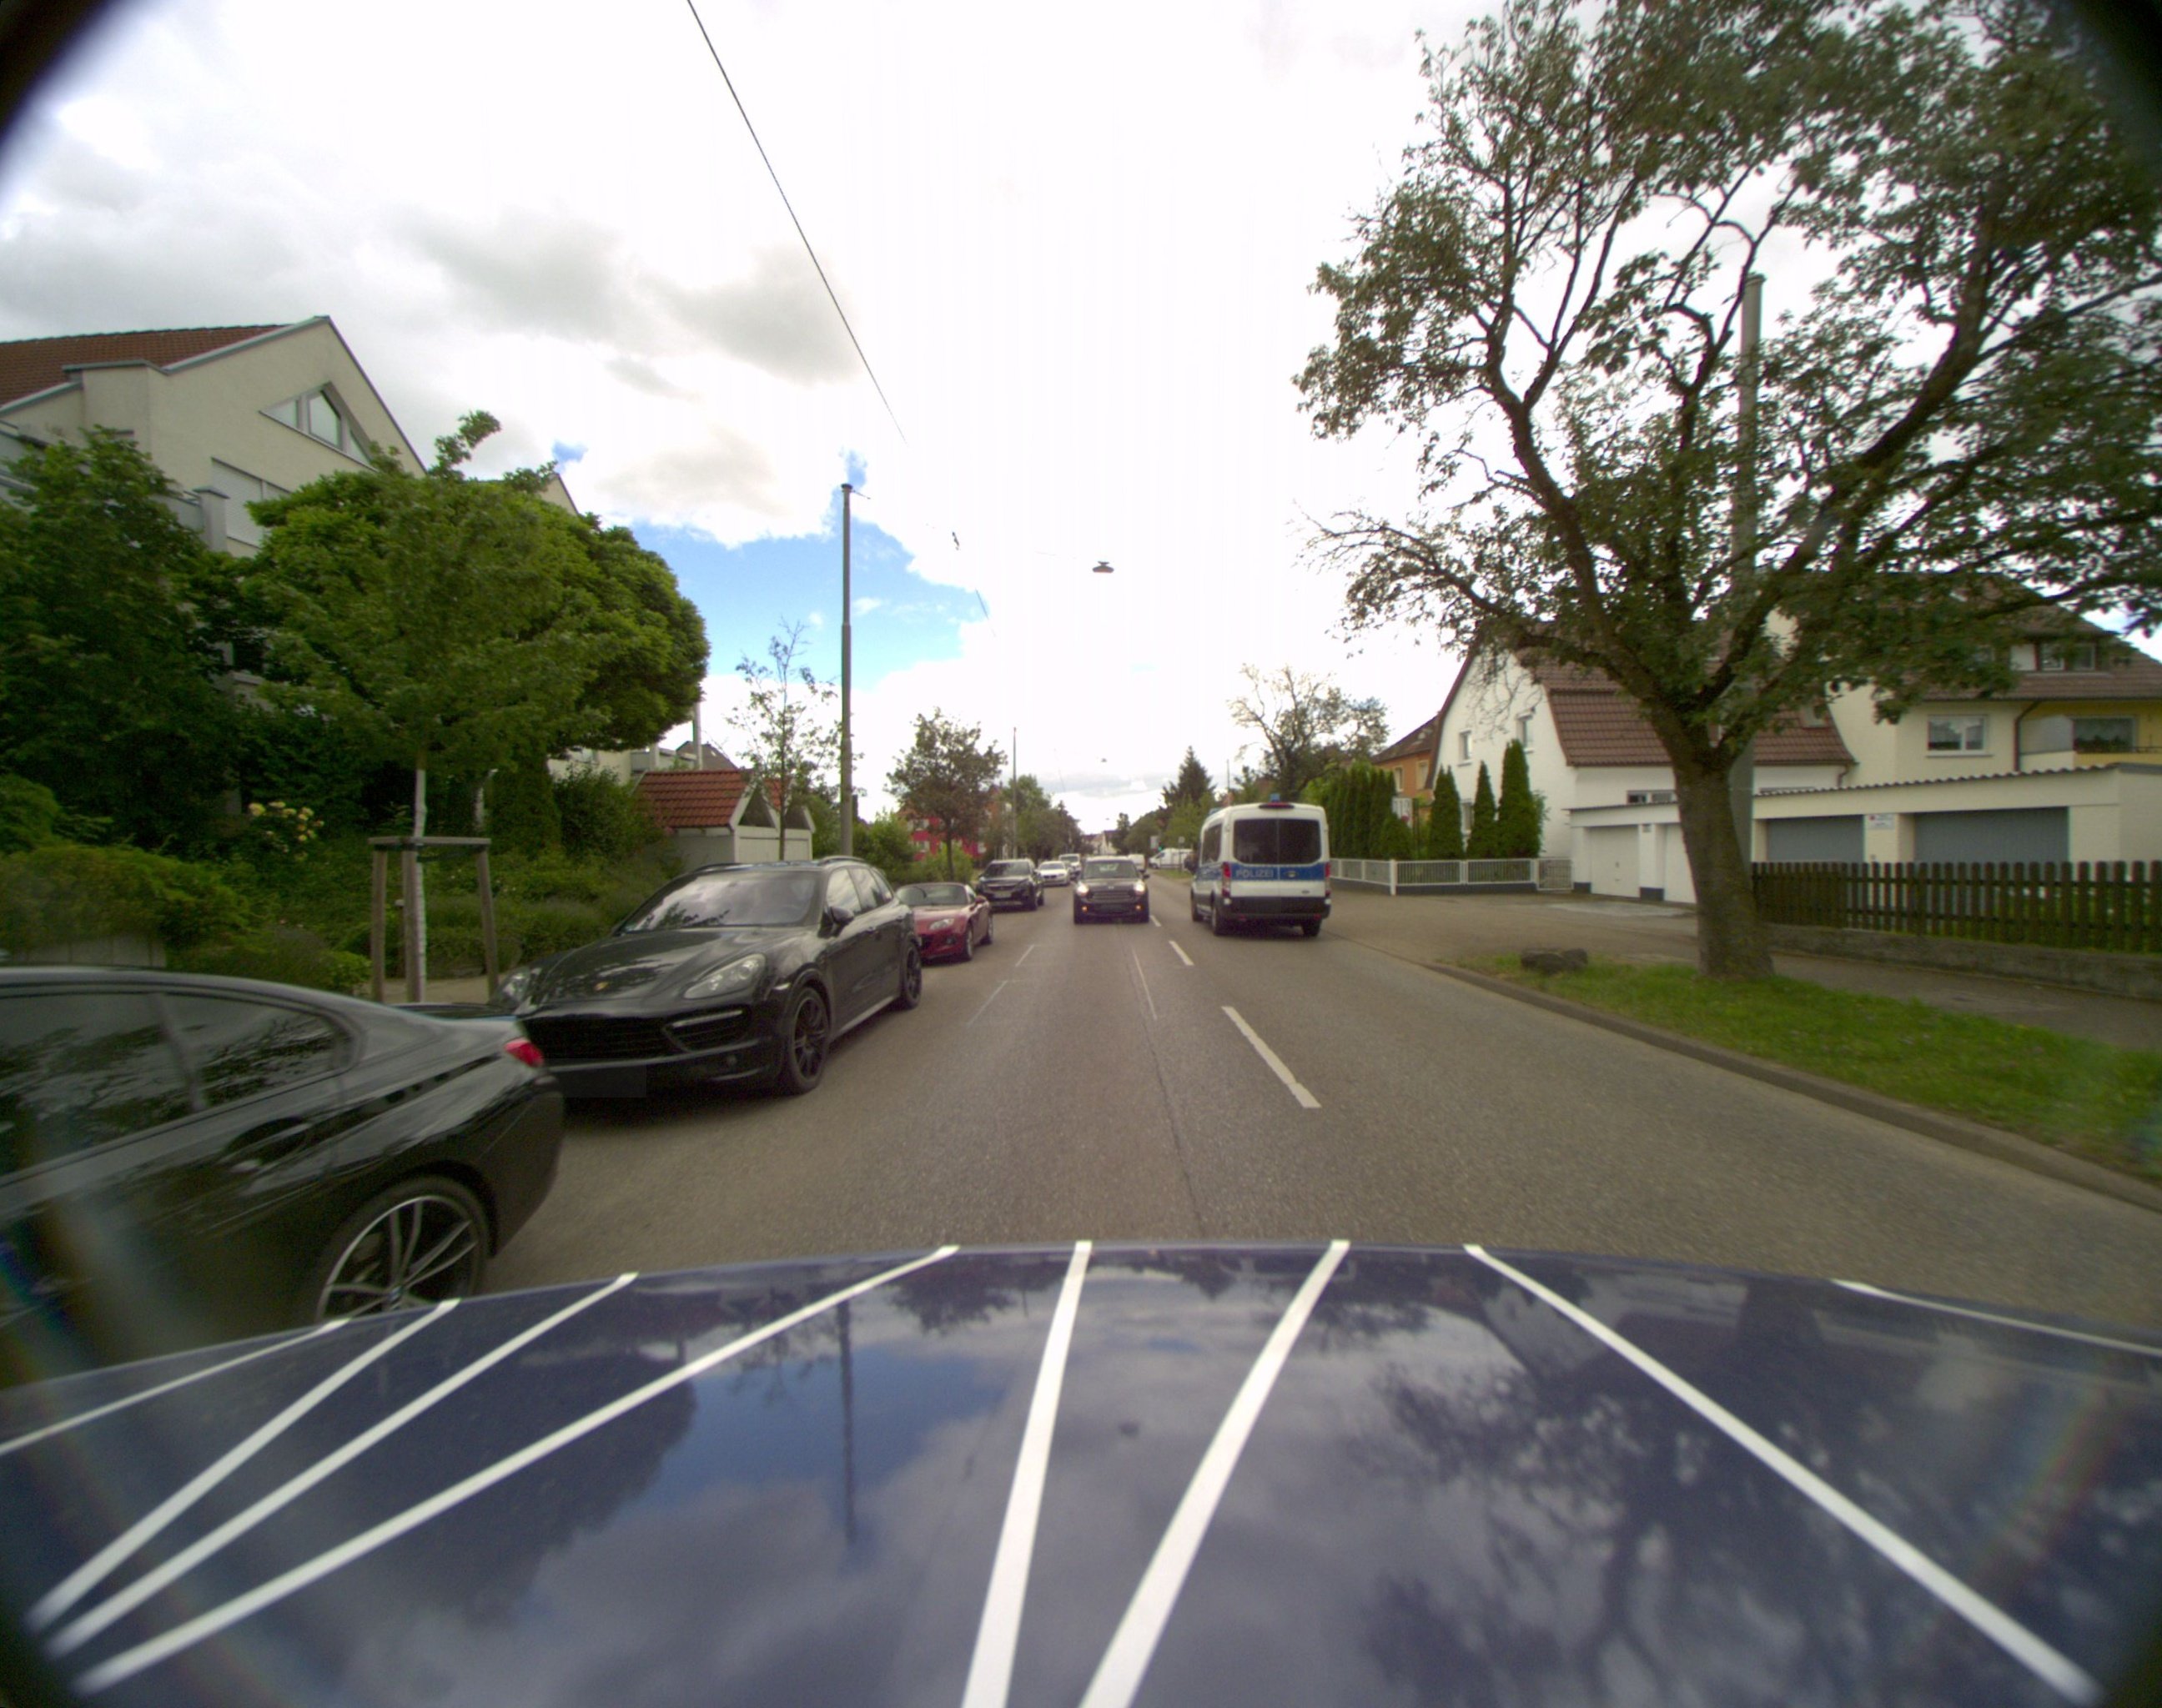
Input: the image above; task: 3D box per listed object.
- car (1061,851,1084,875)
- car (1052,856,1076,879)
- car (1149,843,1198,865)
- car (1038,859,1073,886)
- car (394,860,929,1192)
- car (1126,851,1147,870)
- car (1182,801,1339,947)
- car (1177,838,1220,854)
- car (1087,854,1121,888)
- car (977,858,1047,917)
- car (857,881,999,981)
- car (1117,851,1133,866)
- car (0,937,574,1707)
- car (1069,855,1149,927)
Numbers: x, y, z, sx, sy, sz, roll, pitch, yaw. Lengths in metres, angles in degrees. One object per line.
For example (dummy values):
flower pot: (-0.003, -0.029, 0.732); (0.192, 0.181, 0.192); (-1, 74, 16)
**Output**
car: (-0.714, 0.753, 65.715); (1.779, 1.932, 4.788); (-2, 0, 1)
car: (-1.219, 0.972, 55.825); (1.669, 1.507, 4.220); (-2, 0, 0)
car: (11.347, 0.003, 92.931); (5.610, 2.549, 2.133); (1, 1, 19)
car: (-1.417, 1.042, 44.473); (1.697, 1.445, 4.405); (-3, 0, 2)
car: (-2.787, 0.982, 6.489); (1.834, 1.702, 4.549); (-3, 0, 2)
car: (5.187, 0.576, 71.947); (1.799, 1.741, 4.299); (0, 0, 2)
car: (3.545, 0.354, 16.169); (2.078, 2.567, 5.300); (1, 0, 1)
car: (13.523, -0.935, 87.633); (4.643, 1.611, 2.001); (-2, 0, 3)
car: (1.208, 0.814, 38.548); (1.590, 1.598, 3.685); (-1, 0, 3)
car: (-2.124, 0.988, 24.479); (1.692, 1.600, 4.109); (-3, 0, 2)
car: (-2.451, 1.190, 13.058); (1.485, 1.229, 3.884); (-4, 0, 1)
car: (5.249, 0.513, 91.015); (1.818, 1.683, 4.465); (0, 0, 1)
car: (-2.948, 1.096, 0.676); (1.834, 1.448, 4.550); (-3, 0, 1)
car: (0.713, 0.823, 18.817); (1.743, 1.573, 3.685); (-1, 0, 3)
